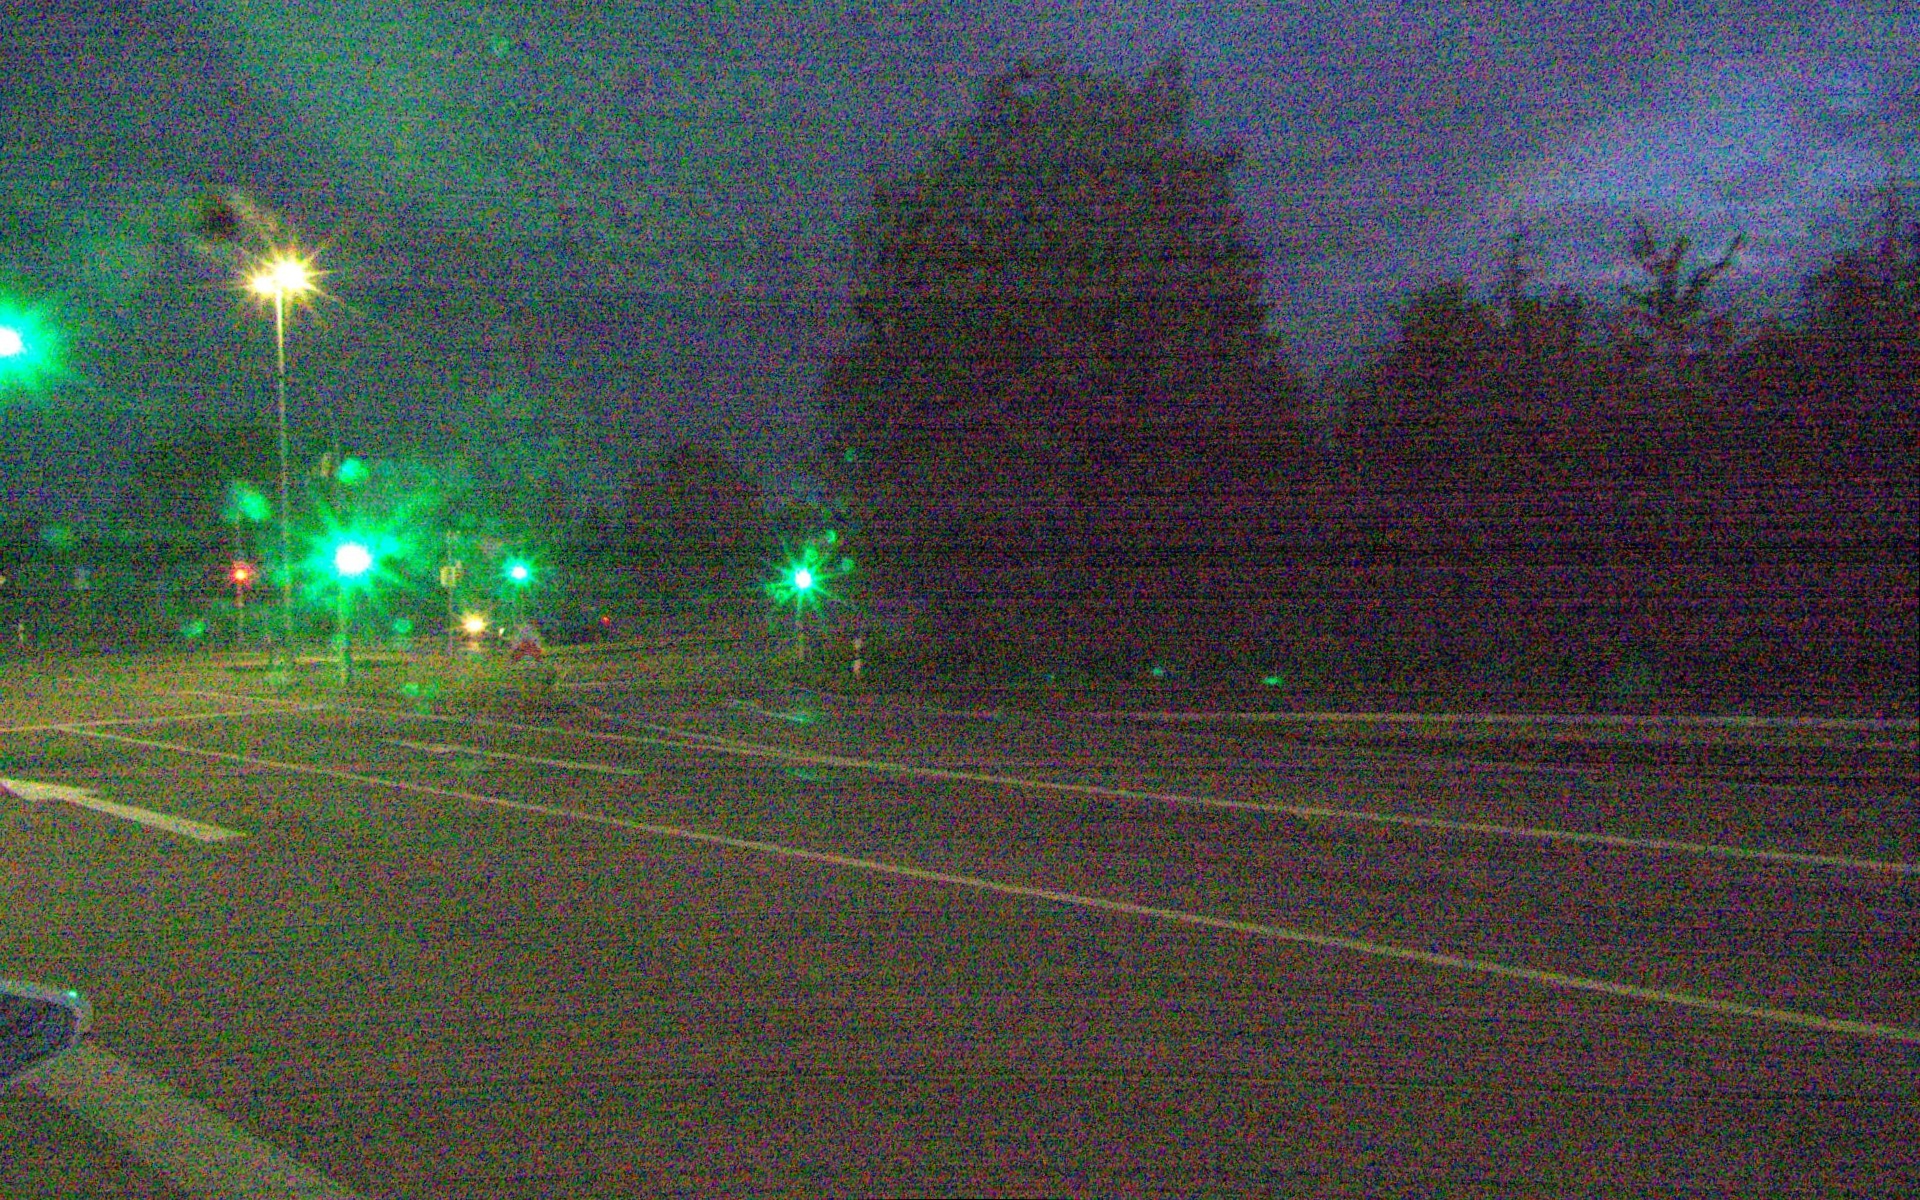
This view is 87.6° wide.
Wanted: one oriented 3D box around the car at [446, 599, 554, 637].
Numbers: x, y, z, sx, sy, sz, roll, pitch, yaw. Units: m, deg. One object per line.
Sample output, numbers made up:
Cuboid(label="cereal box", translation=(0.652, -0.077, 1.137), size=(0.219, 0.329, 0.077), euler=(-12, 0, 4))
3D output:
Cuboid(label="car", translation=(-20.093, 0.755, 43.881), size=(1.871, 1.590, 3.983), euler=(0, 0, 29))

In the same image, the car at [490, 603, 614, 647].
Cuboid(label="car", translation=(-15.520, 0.926, 38.266), size=(1.972, 1.590, 4.069), euler=(0, 0, 29))
